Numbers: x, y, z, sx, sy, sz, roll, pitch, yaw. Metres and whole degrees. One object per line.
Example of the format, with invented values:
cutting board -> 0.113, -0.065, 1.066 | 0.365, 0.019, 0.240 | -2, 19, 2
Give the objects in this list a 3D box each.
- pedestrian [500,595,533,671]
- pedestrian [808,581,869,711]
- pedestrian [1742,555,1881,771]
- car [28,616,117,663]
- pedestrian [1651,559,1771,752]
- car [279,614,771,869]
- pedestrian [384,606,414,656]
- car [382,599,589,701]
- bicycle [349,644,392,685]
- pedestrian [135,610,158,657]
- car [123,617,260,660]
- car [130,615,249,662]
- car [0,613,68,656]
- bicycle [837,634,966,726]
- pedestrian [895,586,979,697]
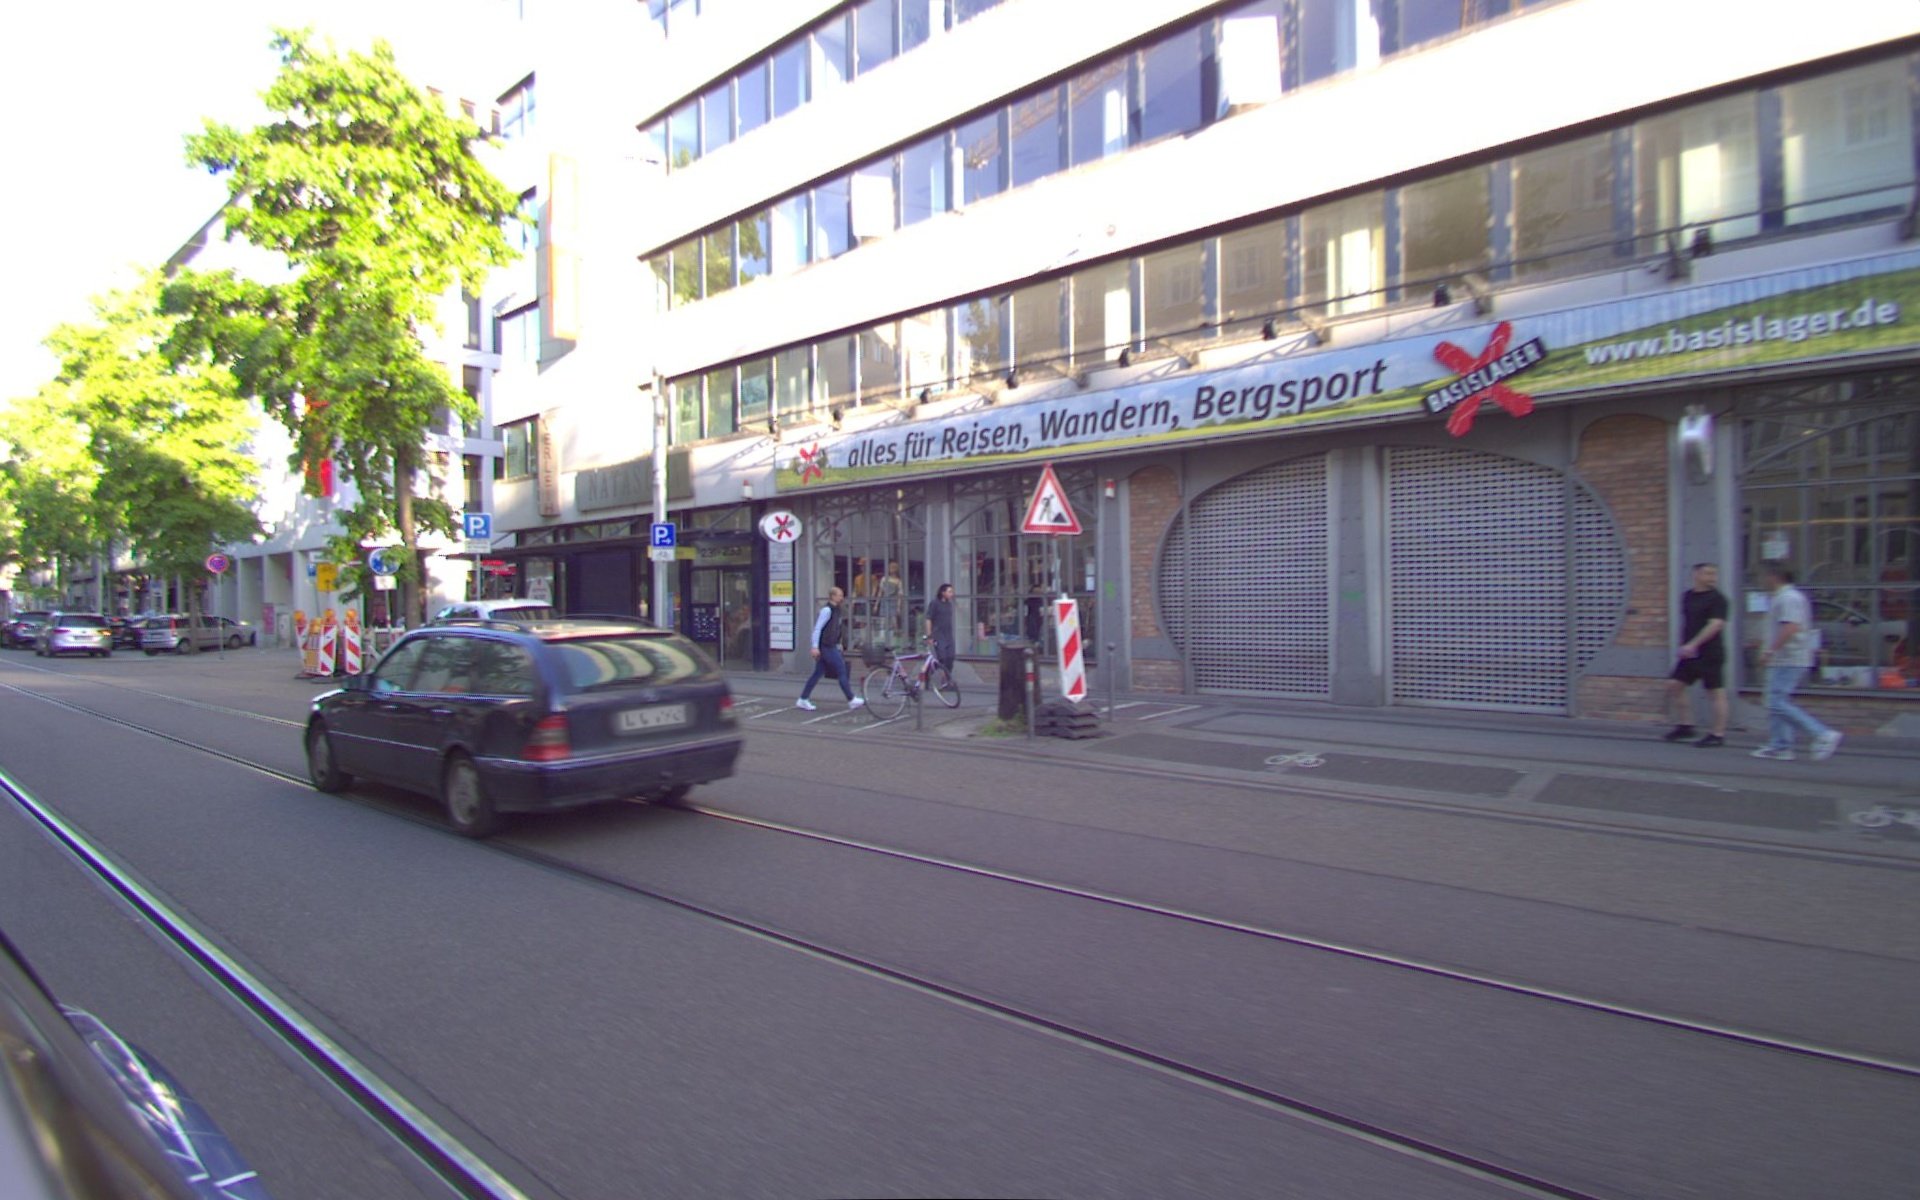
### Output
pedestrian -> -11.915, 0.879, 27.163 | 0.592, 2.029, 0.608 | -2, -1, 39
pedestrian -> -1.742, 0.644, 14.438 | 0.819, 1.779, 0.854 | -1, -1, -7
pedestrian -> 7.247, 0.504, 8.614 | 0.829, 1.725, 0.634 | -1, 0, 45
car -> -32.544, 1.452, 37.087 | 4.198, 1.624, 1.865 | -1, -3, 41
pedestrian -> 7.089, 0.492, 9.556 | 0.808, 1.725, 0.620 | -1, 0, 45
car -> -3.589, 0.844, 7.880 | 4.526, 1.418, 1.760 | -1, -1, 41
pedestrian -> -19.092, 1.043, 34.442 | 0.611, 1.658, 0.716 | -2, -1, 43
car -> -9.675, 0.942, 20.461 | 4.741, 1.767, 1.973 | -1, 1, 41
bicycle -> -13.695, 1.490, 23.505 | 0.496, 0.843, 1.536 | -3, 2, -43
pedestrian -> -34.043, 1.396, 42.360 | 0.723, 1.948, 0.647 | -2, -2, 43
car -> -31.779, 1.550, 42.003 | 1.568, 1.423, 4.286 | -1, 2, 22
car -> -30.115, 1.479, 39.651 | 1.769, 1.572, 3.391 | -1, 2, 9
car -> -41.934, 1.539, 45.605 | 4.198, 1.820, 2.013 | -2, -2, 41
bicycle -> -0.747, 1.027, 13.373 | 1.724, 0.999, 0.479 | -5, 2, -42
pedestrian -> -0.374, 0.658, 16.505 | 1.037, 1.708, 0.824 | -1, 2, 41
